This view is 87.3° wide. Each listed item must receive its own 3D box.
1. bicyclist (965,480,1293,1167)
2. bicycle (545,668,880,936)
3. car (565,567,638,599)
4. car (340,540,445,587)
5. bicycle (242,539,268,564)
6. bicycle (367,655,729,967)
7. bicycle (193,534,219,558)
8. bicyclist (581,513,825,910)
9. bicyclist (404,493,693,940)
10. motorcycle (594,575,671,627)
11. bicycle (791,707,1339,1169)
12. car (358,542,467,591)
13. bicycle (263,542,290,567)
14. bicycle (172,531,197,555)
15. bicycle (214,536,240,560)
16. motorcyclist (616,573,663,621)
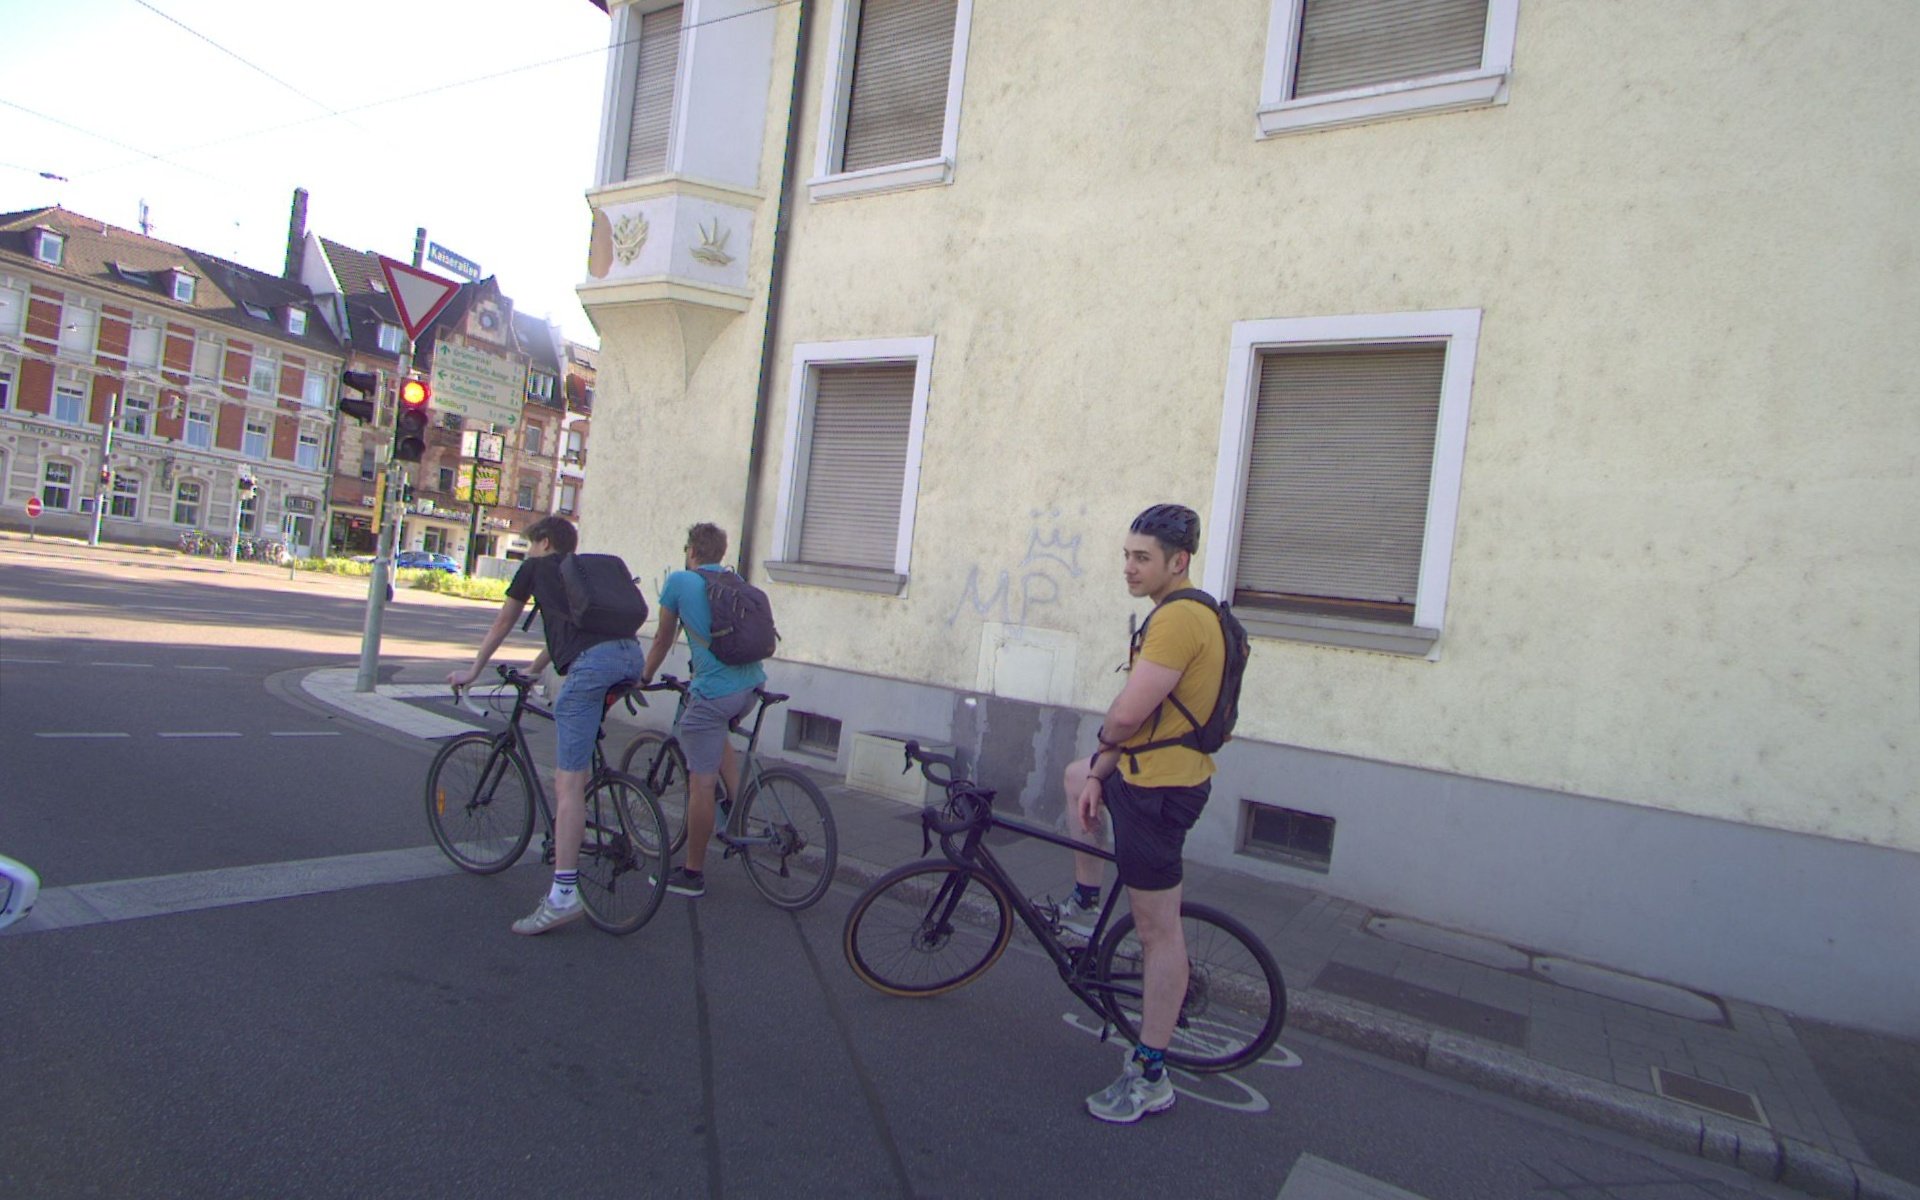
[{"bbox_3d":[0.621,0.676,3.479,0.763,1.990,0.783,7,0,18],"label":"bicyclist"},{"bbox_3d":[-1.328,0.970,5.230,1.753,0.995,0.504,6,-1,32],"label":"bicycle"},{"bbox_3d":[-23.171,-1.097,65.142,1.842,1.454,3.985,6,-2,35],"label":"car"},{"bbox_3d":[-27.648,-1.757,49.102,1.775,1.641,3.994,6,-2,33],"label":"car"},{"bbox_3d":[-33.612,-2.310,47.953,0.762,1.019,2.196,8,-2,-39],"label":"bicycle"},{"bbox_3d":[-1.913,0.866,4.563,1.753,1.003,0.482,6,-1,32],"label":"bicycle"},{"bbox_3d":[-34.774,-2.513,46.405,0.762,0.979,2.186,8,-2,-39],"label":"bicycle"},{"bbox_3d":[-1.350,0.533,5.279,0.960,1.868,0.504,6,-1,32],"label":"bicyclist"},{"bbox_3d":[-1.864,0.472,4.566,0.920,1.787,0.590,6,-1,32],"label":"bicyclist"},{"bbox_3d":[-10.112,0.053,31.181,0.783,1.349,2.140,6,-2,31],"label":"motorcycle"},{"bbox_3d":[0.393,1.094,3.693,1.709,1.119,0.783,7,-1,18],"label":"bicycle"},{"bbox_3d":[-25.454,-1.553,46.896,1.775,1.641,3.994,6,-2,33],"label":"car"},{"bbox_3d":[-33.027,-2.207,48.617,0.789,1.027,2.186,8,-2,-39],"label":"bicycle"},{"bbox_3d":[-35.376,-2.614,45.881,0.762,0.974,2.186,8,-2,-39],"label":"bicycle"},{"bbox_3d":[-34.278,-2.423,47.028,0.762,0.995,2.186,8,-2,-39],"label":"bicycle"},{"bbox_3d":[-9.981,-0.090,31.356,0.776,1.315,1.016,6,-2,32],"label":"motorcyclist"}]
